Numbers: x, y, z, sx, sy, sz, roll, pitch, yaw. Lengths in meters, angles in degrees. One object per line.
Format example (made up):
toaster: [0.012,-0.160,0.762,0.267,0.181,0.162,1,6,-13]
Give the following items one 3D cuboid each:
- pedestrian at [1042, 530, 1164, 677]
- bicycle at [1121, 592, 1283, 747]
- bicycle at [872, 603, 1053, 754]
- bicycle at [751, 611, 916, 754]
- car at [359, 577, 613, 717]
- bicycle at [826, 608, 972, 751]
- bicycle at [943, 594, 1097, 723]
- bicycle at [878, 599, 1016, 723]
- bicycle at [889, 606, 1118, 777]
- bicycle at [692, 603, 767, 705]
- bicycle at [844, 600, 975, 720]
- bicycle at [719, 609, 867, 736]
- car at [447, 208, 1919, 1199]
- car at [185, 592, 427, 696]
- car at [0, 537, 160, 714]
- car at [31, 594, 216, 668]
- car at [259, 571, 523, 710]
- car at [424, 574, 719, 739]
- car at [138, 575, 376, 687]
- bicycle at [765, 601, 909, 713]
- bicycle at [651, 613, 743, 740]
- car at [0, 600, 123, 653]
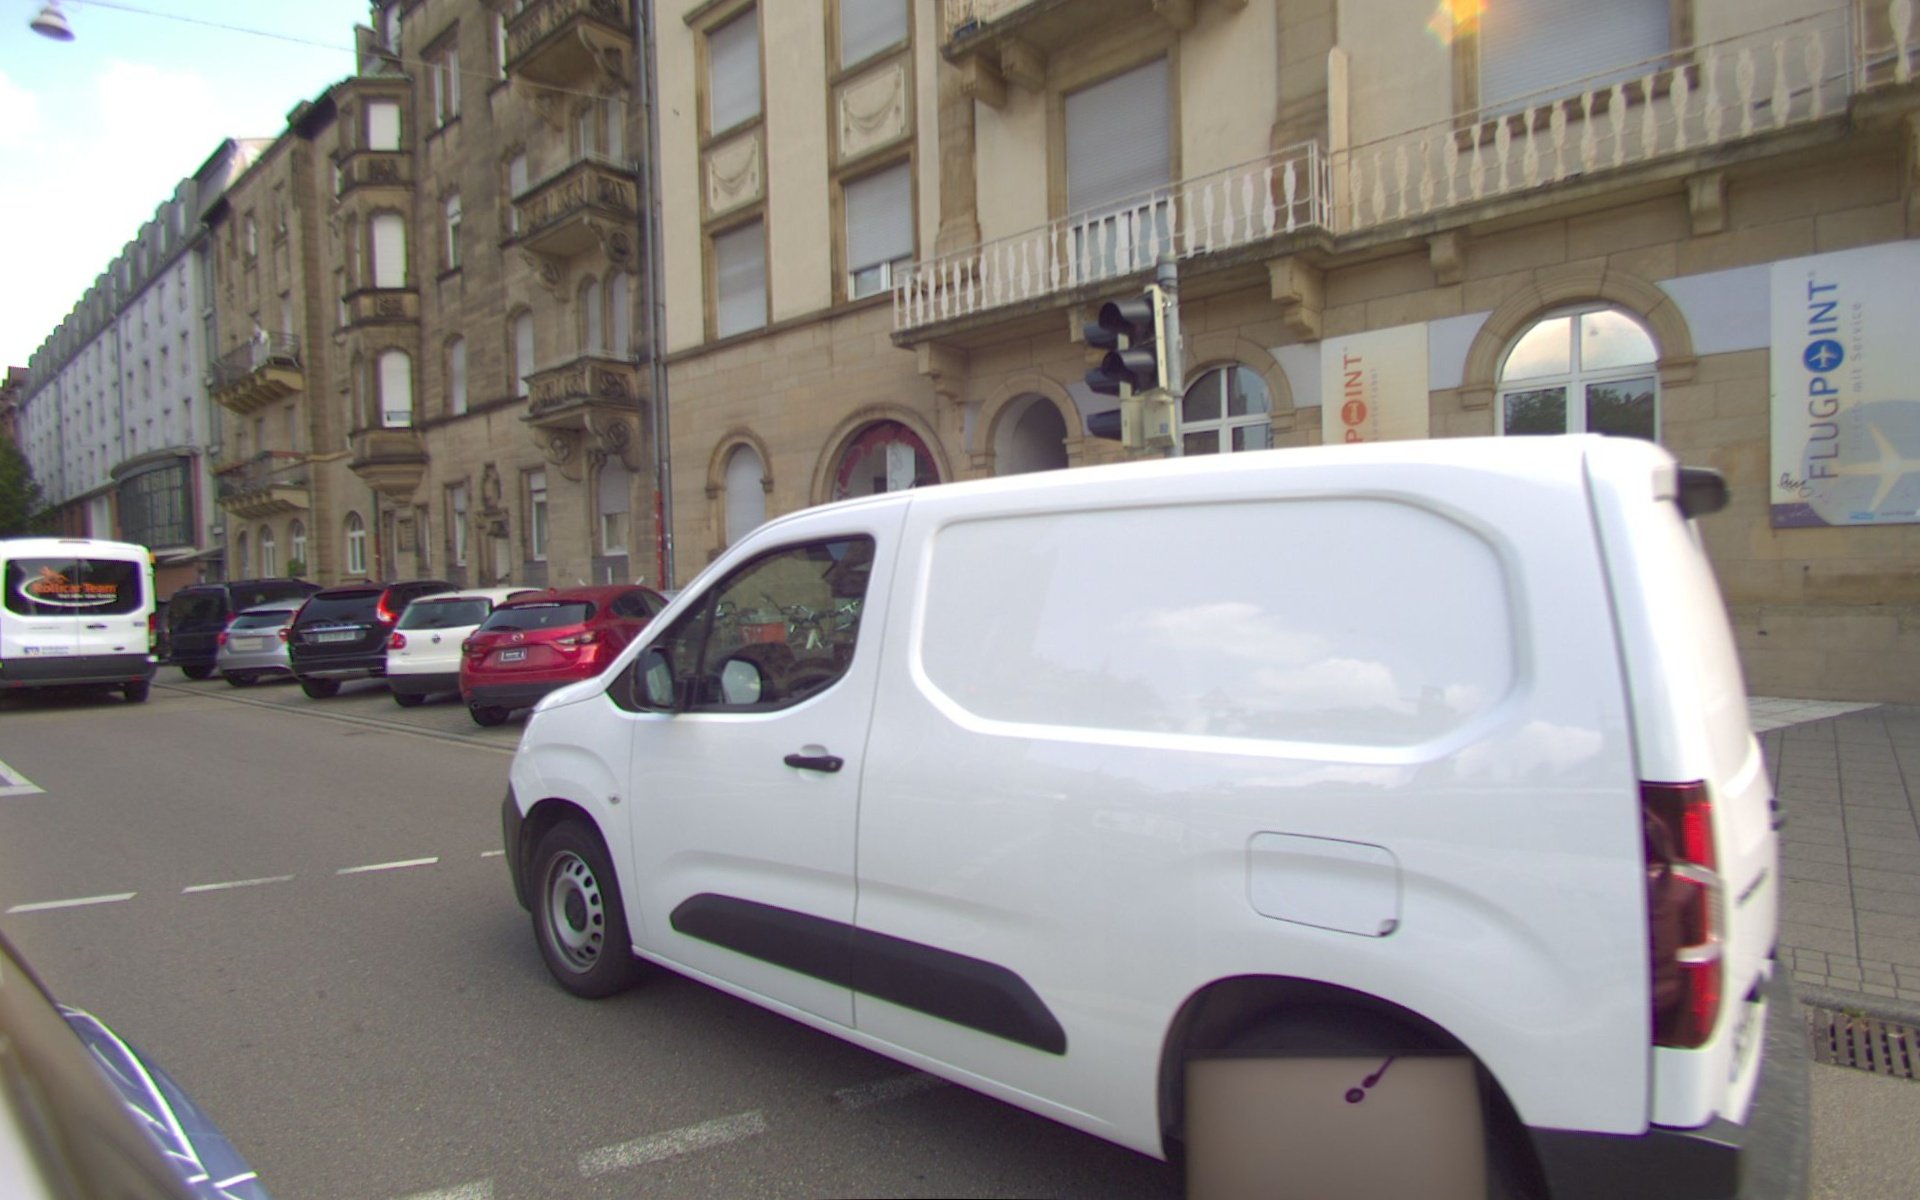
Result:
pedestrian: [1.697,0.022,12.011,0.996,1.606,0.932,-1,5,42]
bicycle: [1.988,0.519,8.212,1.421,1.059,0.481,-5,3,-40]
bicycle: [0.052,0.616,8.572,1.558,1.059,0.481,-6,3,-42]
bicycle: [-1.087,0.687,8.972,0.462,1.059,1.464,-1,3,41]
car: [-6.588,0.550,14.597,1.707,1.467,3.956,-5,3,0]
bicycle: [-0.507,0.655,8.862,0.417,1.059,1.355,-1,3,39]
bicycle: [0.605,0.524,9.770,1.558,1.059,0.481,-6,3,-42]
bicycle: [-0.099,0.571,10.122,0.462,1.059,1.464,-1,3,42]
bicycle: [0.363,0.643,7.747,1.708,1.059,0.532,-5,3,-33]
bicycle: [-2.823,0.622,12.564,0.549,1.059,1.907,-3,2,-4]
bicycle: [-0.498,0.586,10.514,0.462,1.059,1.466,-2,3,38]
bicycle: [-1.621,0.680,10.012,0.462,1.059,1.466,-2,3,38]
car: [0.171,0.435,3.368,4.280,1.789,1.794,-2,0,40]
car: [-11.945,0.727,18.850,1.709,1.439,3.952,-4,3,3]
car: [-15.133,0.445,16.561,5.940,2.463,2.055,-2,-1,40]
car: [-23.315,0.796,28.419,1.708,1.596,3.954,-4,3,2]
car: [-8.818,0.517,16.142,1.778,1.701,3.954,-4,3,2]
car: [-4.433,0.532,12.286,1.788,1.467,3.997,-4,3,3]
car: [-14.137,0.531,20.679,1.711,1.881,3.947,-3,3,7]
bicycle: [-1.343,0.598,11.334,0.557,1.059,1.611,-1,3,40]
bicycle: [-2.642,0.728,10.343,0.549,1.059,1.815,-3,2,-5]
car: [-32.802,0.944,36.545,1.708,1.597,3.953,-4,2,2]
